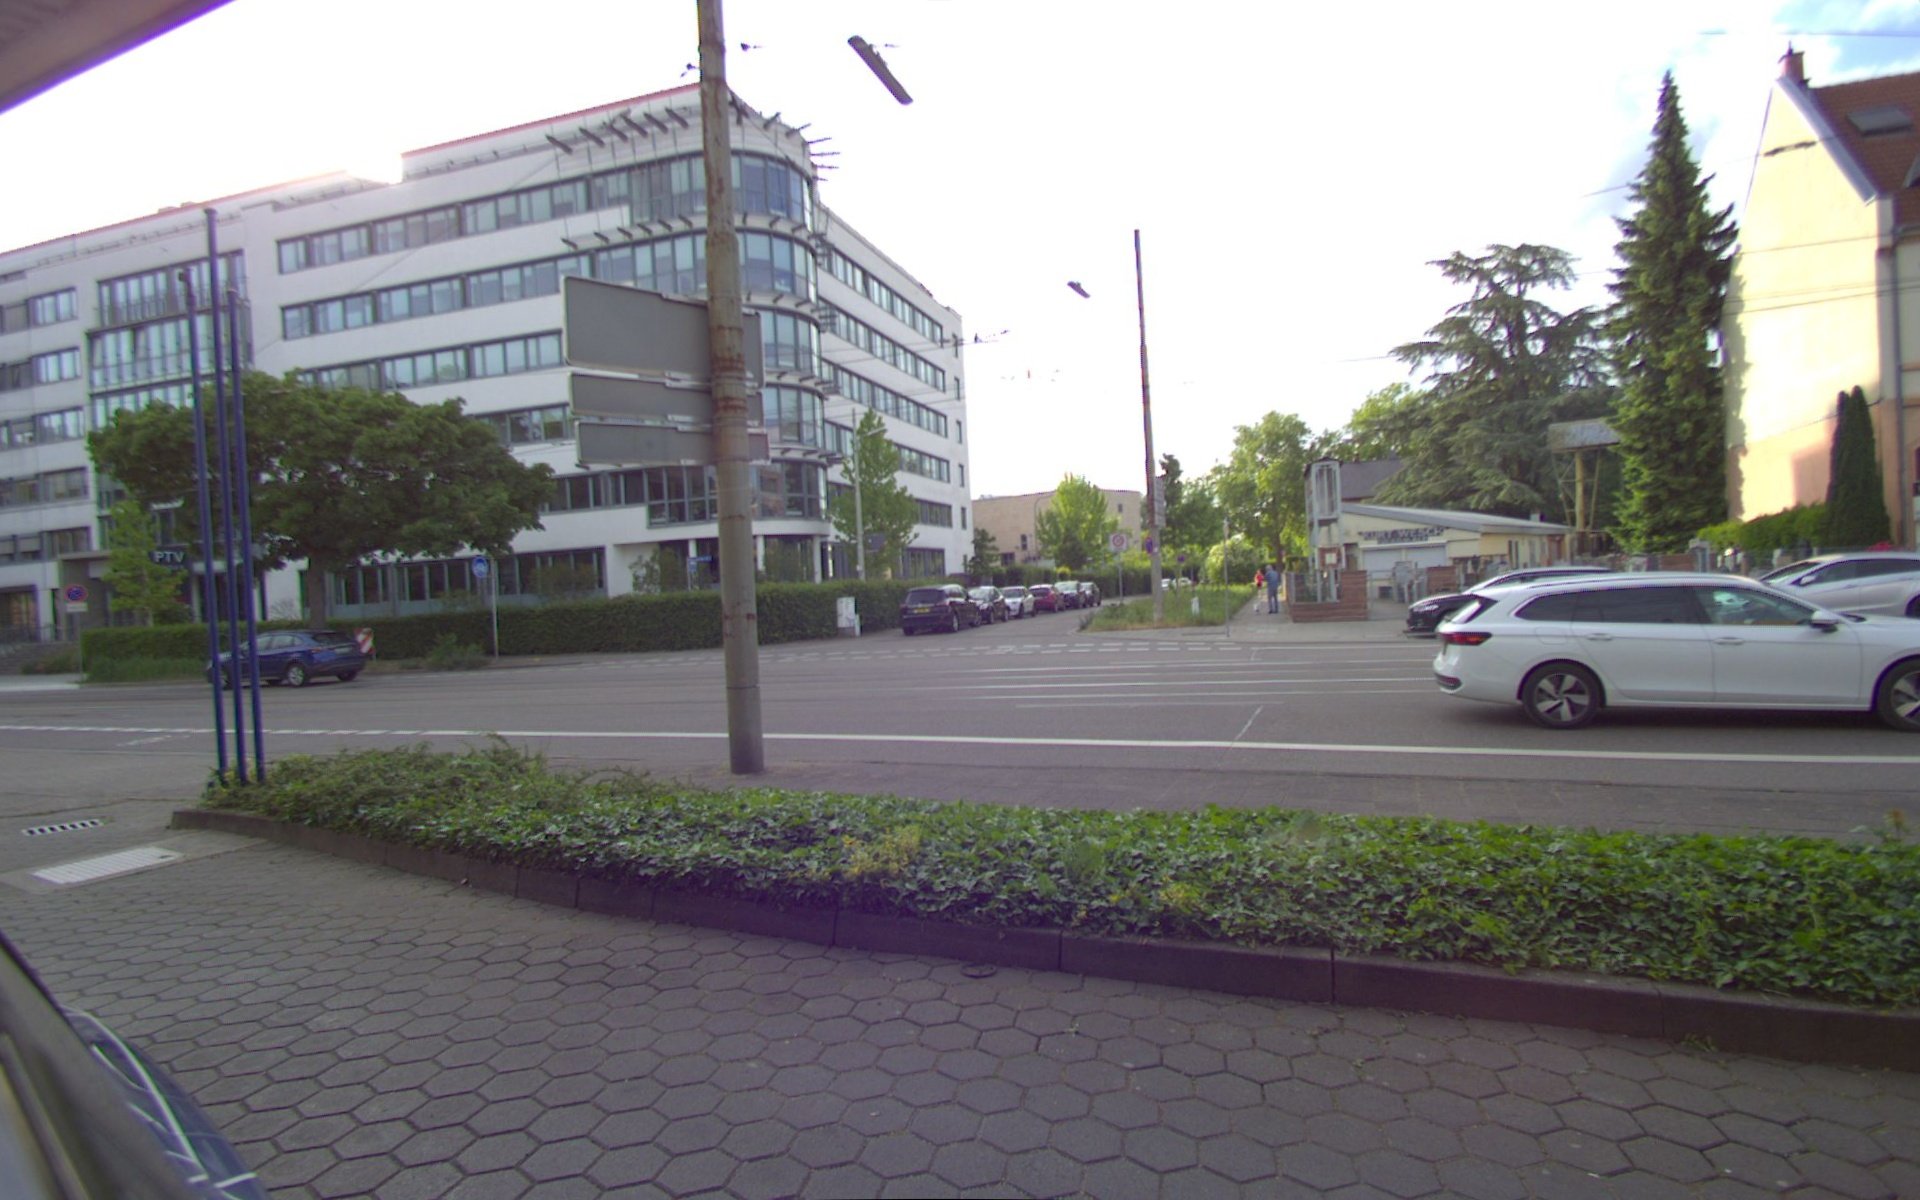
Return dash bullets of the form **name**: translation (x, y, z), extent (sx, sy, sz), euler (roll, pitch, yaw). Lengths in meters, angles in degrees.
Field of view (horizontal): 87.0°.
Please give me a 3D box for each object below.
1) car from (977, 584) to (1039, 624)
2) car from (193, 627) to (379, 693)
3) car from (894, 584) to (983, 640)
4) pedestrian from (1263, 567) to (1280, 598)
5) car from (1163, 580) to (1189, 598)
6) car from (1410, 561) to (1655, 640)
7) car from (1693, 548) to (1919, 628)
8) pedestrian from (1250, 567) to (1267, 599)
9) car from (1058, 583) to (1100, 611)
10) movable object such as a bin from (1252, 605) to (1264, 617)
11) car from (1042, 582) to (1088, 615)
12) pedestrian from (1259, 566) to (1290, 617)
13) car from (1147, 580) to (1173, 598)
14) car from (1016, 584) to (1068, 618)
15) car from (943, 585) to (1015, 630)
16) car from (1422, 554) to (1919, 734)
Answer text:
- **car**: translation (2.225, 0.153, 45.681), extent (1.807, 1.589, 4.175), euler (-4, 0, 16)
- **car**: translation (-18.253, 1.609, 27.469), extent (4.096, 1.480, 1.857), euler (-3, 0, 12)
- **car**: translation (-0.686, 0.358, 35.562), extent (1.807, 1.701, 4.370), euler (-4, 1, 16)
- **pedestrian**: translation (18.857, -1.050, 61.232), extent (0.965, 1.896, 1.055), euler (-1, 0, 18)
- **car**: translation (22.836, -1.156, 106.850), extent (1.813, 1.654, 4.040), euler (-4, 0, 25)
- **car**: translation (13.014, 0.009, 23.363), extent (4.632, 1.533, 1.842), euler (-3, 2, 22)
- **car**: translation (18.407, -0.267, 21.393), extent (4.349, 1.493, 1.732), euler (-3, 1, 22)
- **pedestrian**: translation (18.131, -1.020, 61.482), extent (0.965, 1.896, 1.055), euler (-1, 0, 18)
- **car**: translation (7.387, -0.213, 62.566), extent (1.807, 1.585, 4.052), euler (-4, 0, 16)
- **movable object such as a bin**: translation (10.477, 0.389, 35.622), extent (0.363, 0.397, 0.660), euler (-2, 2, 14)
- **car**: translation (6.032, -0.136, 57.800), extent (1.807, 1.704, 4.392), euler (-4, 0, 16)
- **pedestrian**: translation (11.010, -0.316, 35.462), extent (0.901, 1.712, 0.922), euler (-3, 2, 13)
- **car**: translation (19.959, -1.135, 100.903), extent (1.811, 1.654, 4.044), euler (-4, 0, 22)
- **car**: translation (4.301, 0.023, 52.403), extent (1.807, 1.589, 4.175), euler (-4, 0, 16)
- **car**: translation (0.832, 0.271, 40.977), extent (1.807, 1.589, 4.175), euler (-4, 0, 16)
- **car**: translation (7.383, 0.422, 10.256), extent (4.797, 1.520, 1.850), euler (-2, 2, 24)
